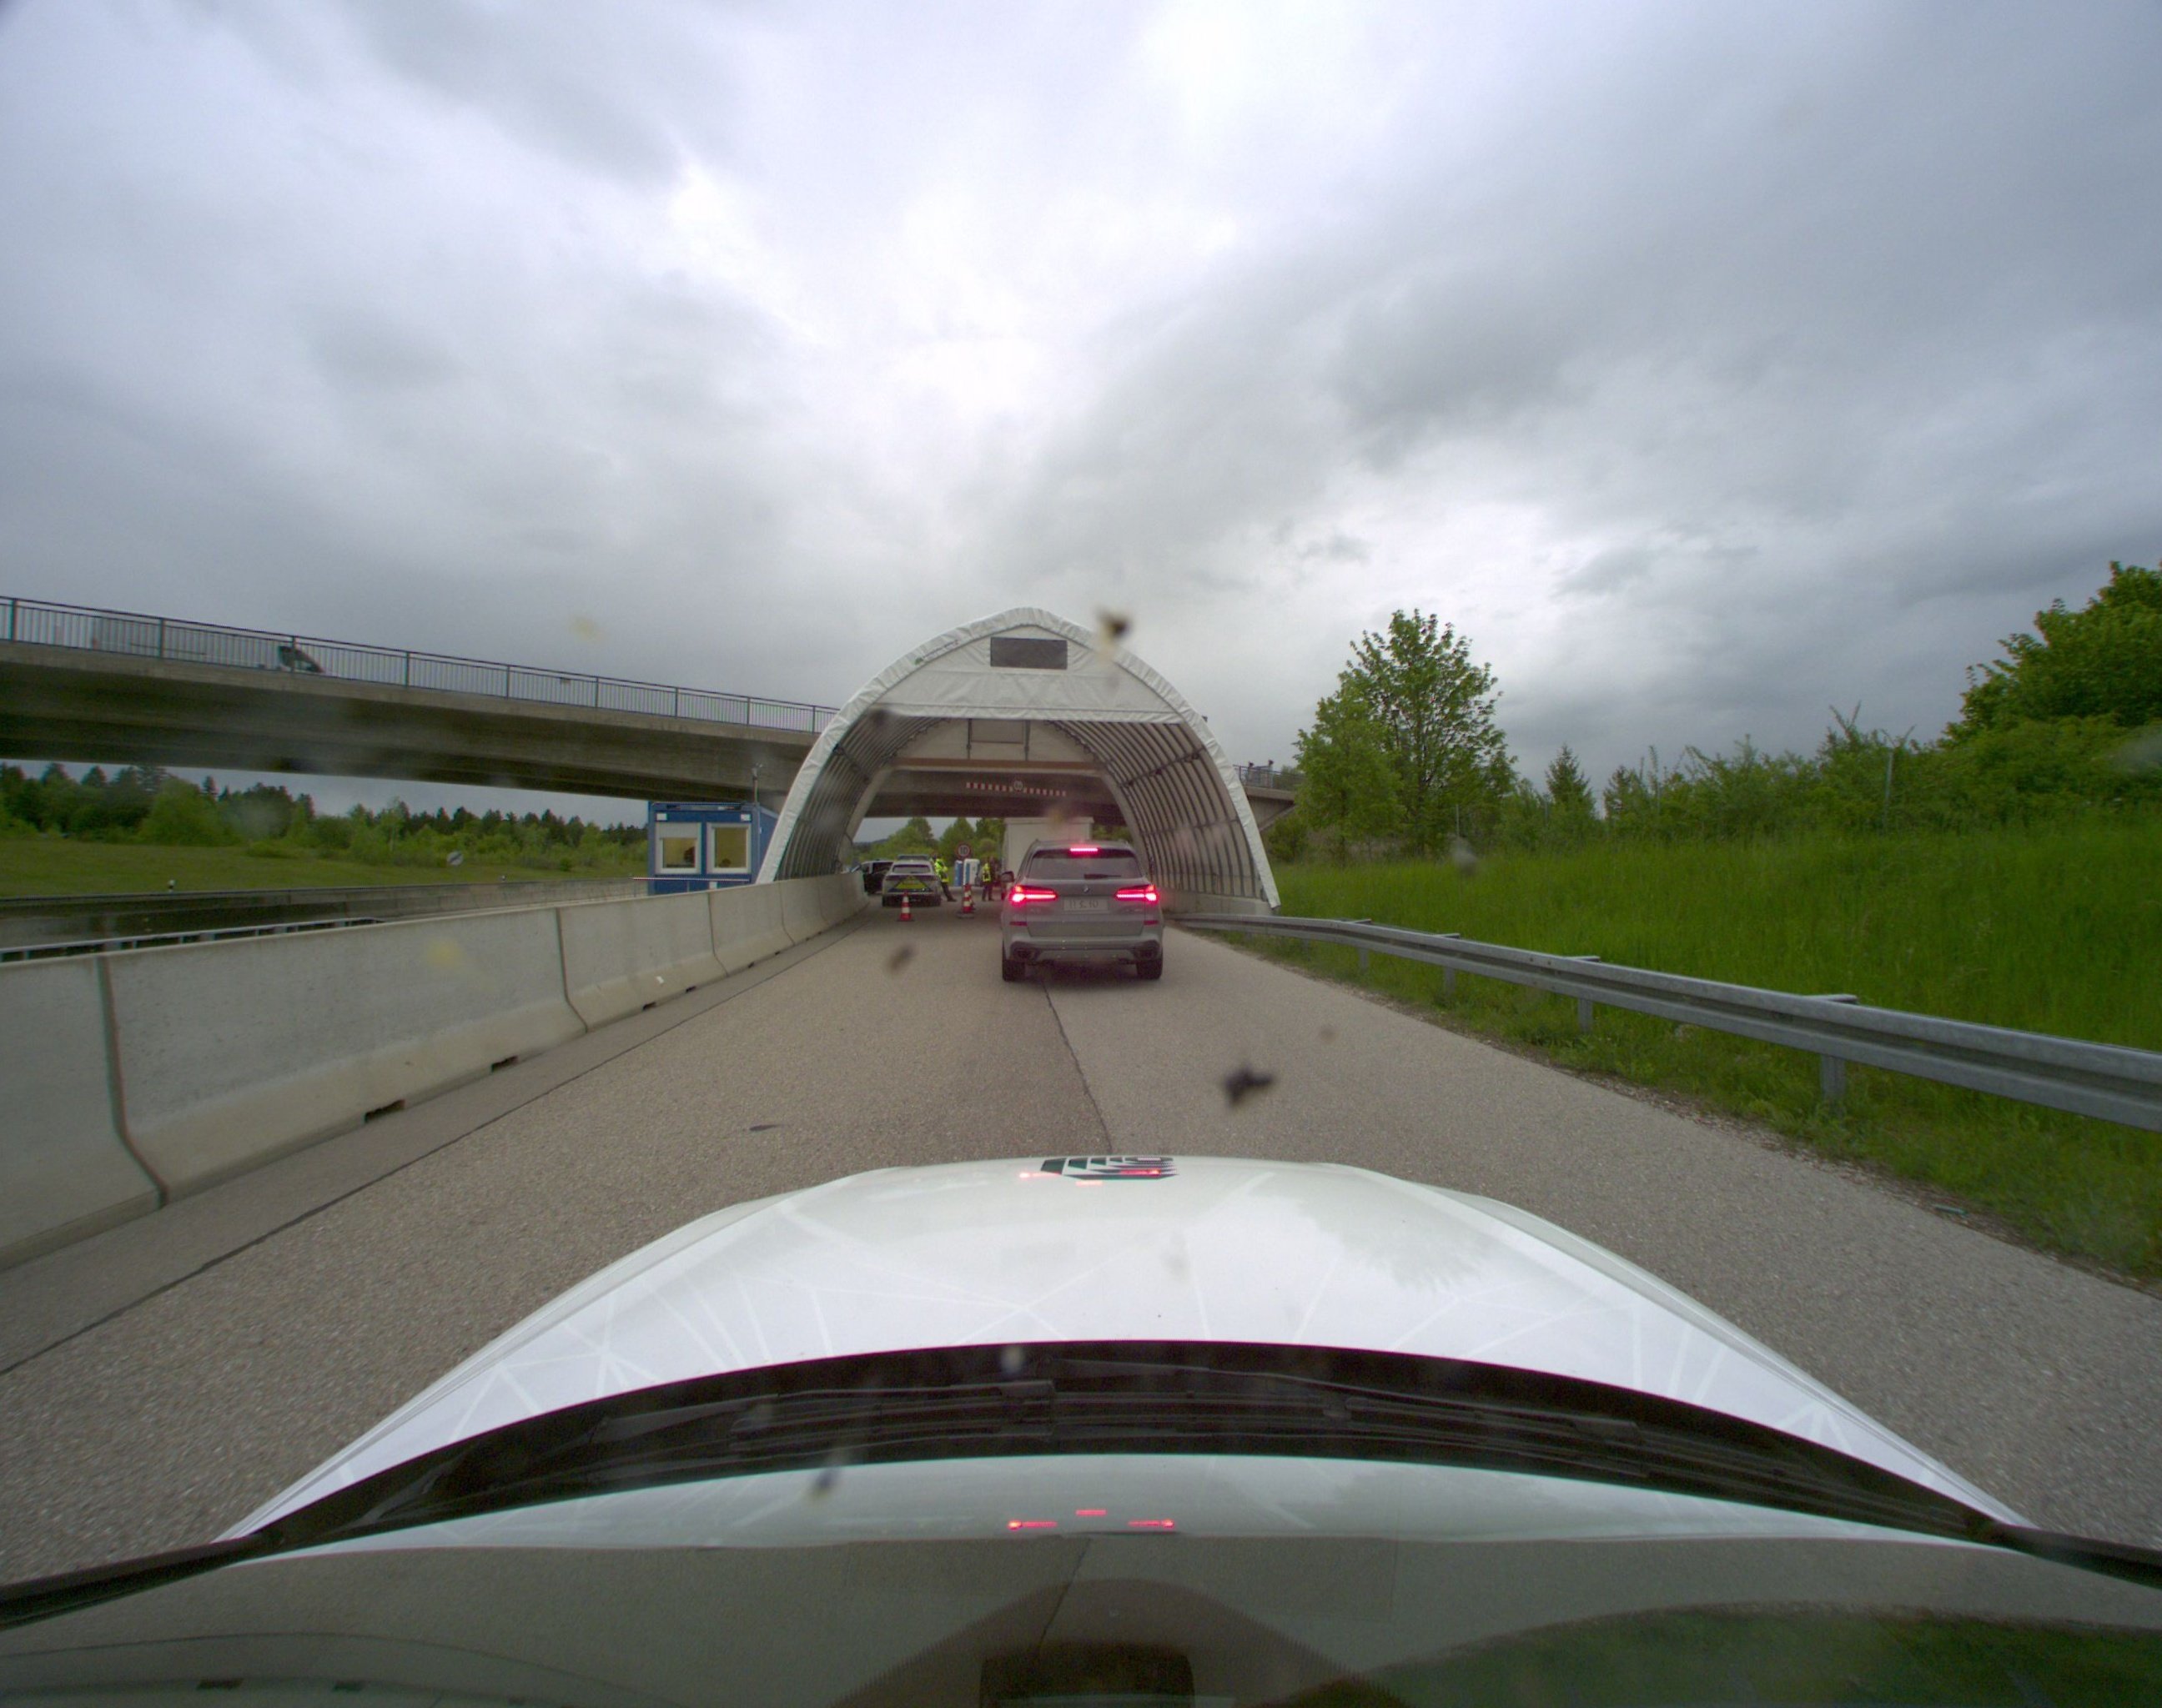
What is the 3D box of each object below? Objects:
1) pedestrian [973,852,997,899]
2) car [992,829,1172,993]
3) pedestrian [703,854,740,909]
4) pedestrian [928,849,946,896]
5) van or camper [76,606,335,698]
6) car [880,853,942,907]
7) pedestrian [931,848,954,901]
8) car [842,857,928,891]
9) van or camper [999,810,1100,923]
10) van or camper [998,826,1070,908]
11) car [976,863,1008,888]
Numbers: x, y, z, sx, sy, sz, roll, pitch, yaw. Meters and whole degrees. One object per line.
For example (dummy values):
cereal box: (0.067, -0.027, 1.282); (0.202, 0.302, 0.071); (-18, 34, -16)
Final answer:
pedestrian: (-3.580, 0.784, 30.314); (0.756, 1.722, 0.778); (-1, -1, -16)
car: (-0.140, 0.649, 11.117); (1.990, 1.765, 3.993); (-1, -1, -5)
pedestrian: (-9.240, 0.705, 20.942); (0.606, 1.373, 0.629); (-2, -1, 10)
pedestrian: (-5.460, 0.707, 30.917); (0.609, 1.754, 0.663); (-1, -1, -11)
van or camper: (-28.074, -6.436, 26.473); (5.477, 1.770, 1.875); (0, -1, -37)
car: (-5.775, 0.831, 27.668); (1.879, 1.647, 3.983); (-1, -1, -12)
pedestrian: (-5.082, 0.742, 29.840); (0.750, 1.919, 0.759); (-1, -1, -13)
car: (-12.018, 1.225, 50.096); (4.777, 2.014, 1.845); (-1, -1, 9)
van or camper: (-1.050, 0.318, 22.215); (2.227, 2.552, 6.595); (-1, -1, -6)
van or camper: (-1.742, 0.423, 28.302); (2.102, 2.519, 5.537); (-1, -1, -7)
car: (-6.495, 1.540, 59.334); (1.994, 1.722, 3.882); (-1, -1, -11)
